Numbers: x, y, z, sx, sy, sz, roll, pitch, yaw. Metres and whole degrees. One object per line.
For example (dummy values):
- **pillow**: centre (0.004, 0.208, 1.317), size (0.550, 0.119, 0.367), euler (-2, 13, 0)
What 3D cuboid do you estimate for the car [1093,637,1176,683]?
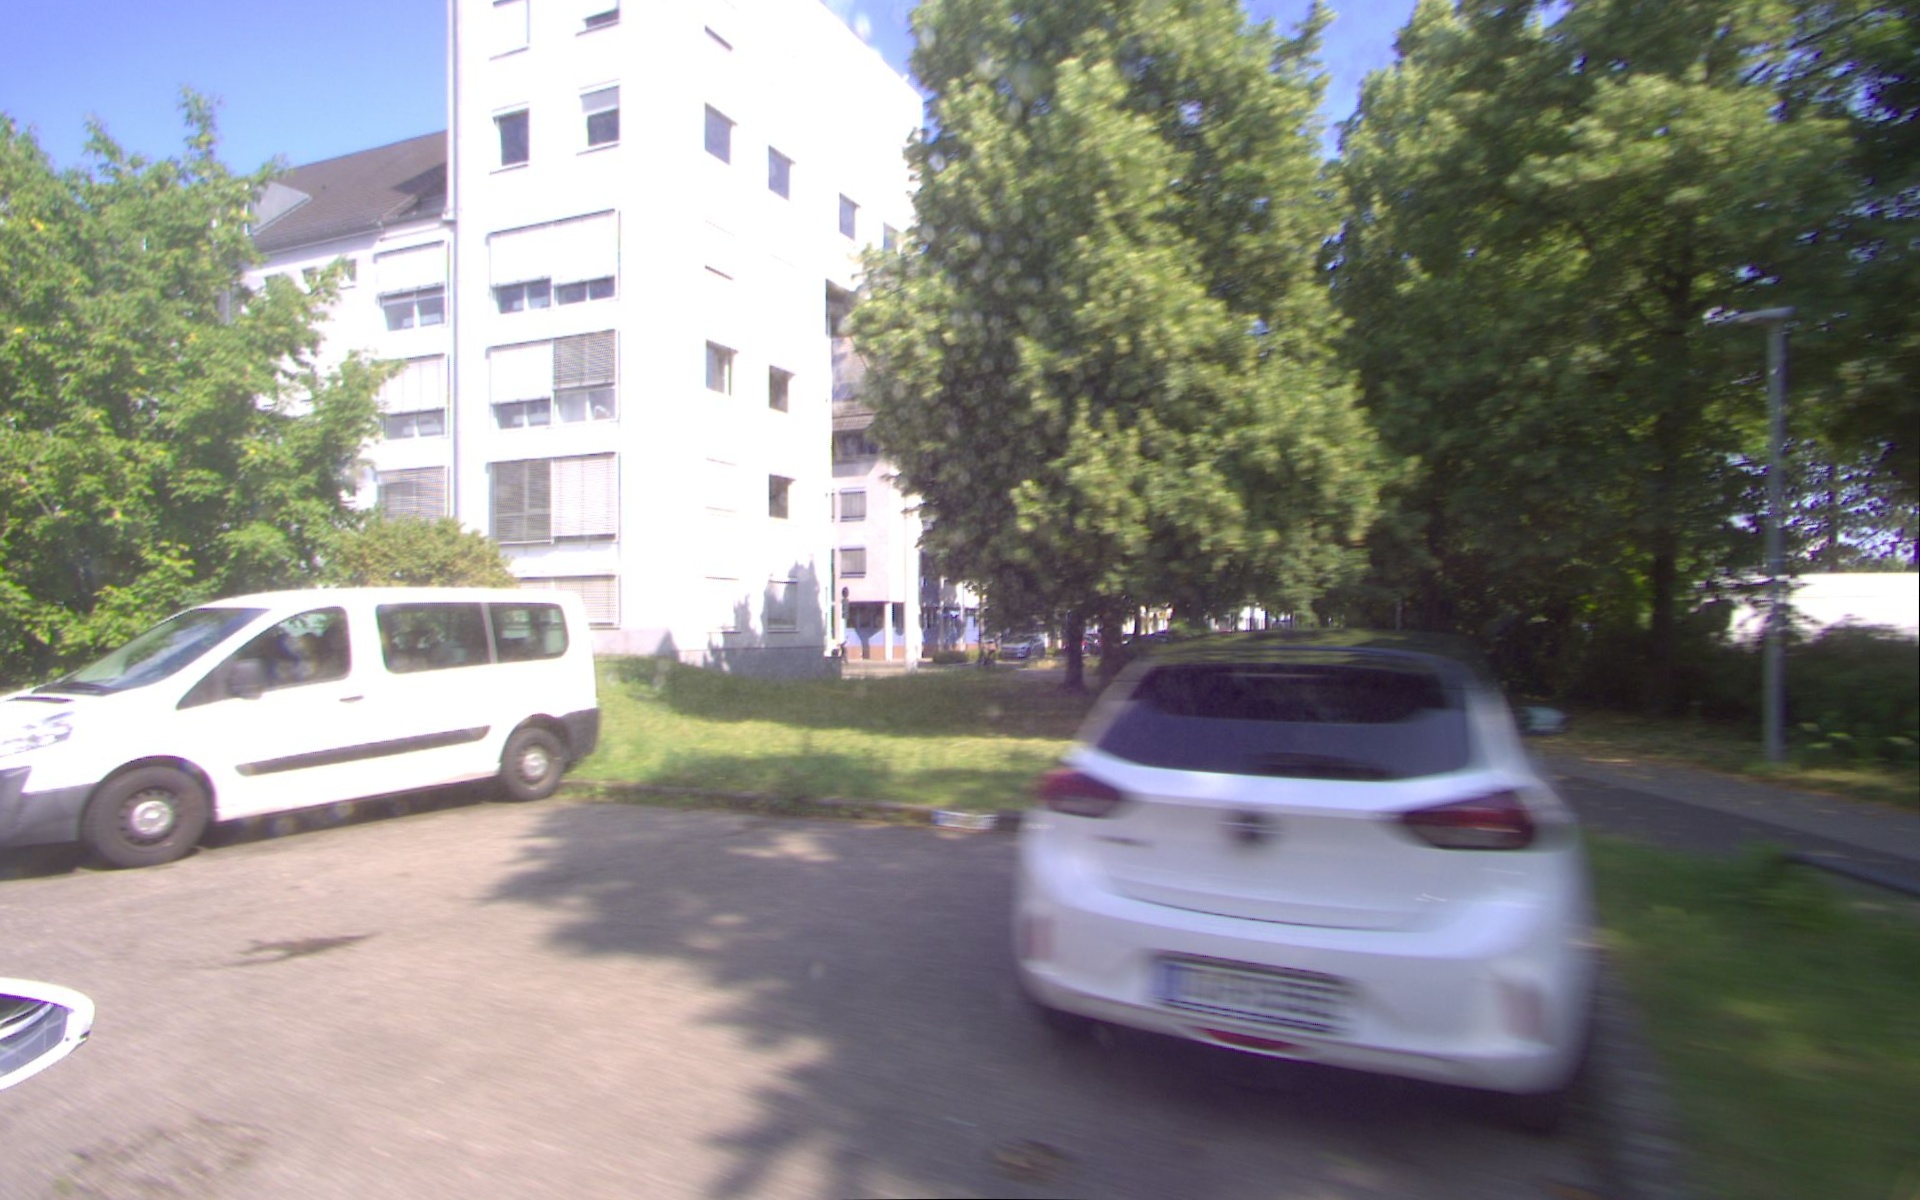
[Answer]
- **car**: centre (9.336, 3.178, 53.640), size (3.938, 2.042, 1.990), euler (3, 3, 30)

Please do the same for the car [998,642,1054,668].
- **car**: centre (3.980, 3.253, 59.858), size (1.790, 1.460, 3.823), euler (1, -1, 29)

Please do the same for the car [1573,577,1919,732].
- **car**: centre (17.475, 1.118, 21.662), size (6.843, 3.087, 1.999), euler (1, -1, 12)

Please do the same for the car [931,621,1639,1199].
- **car**: centre (1.564, 0.843, 4.313), size (1.731, 1.438, 3.902), euler (-1, -1, 27)

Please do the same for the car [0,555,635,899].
- **car**: centre (-5.313, 0.833, 8.317), size (1.970, 1.989, 4.935), euler (-3, -3, 29)

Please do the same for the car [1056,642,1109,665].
- **car**: centre (7.845, 3.431, 63.922), size (1.818, 1.445, 4.167), euler (-1, -3, 31)
